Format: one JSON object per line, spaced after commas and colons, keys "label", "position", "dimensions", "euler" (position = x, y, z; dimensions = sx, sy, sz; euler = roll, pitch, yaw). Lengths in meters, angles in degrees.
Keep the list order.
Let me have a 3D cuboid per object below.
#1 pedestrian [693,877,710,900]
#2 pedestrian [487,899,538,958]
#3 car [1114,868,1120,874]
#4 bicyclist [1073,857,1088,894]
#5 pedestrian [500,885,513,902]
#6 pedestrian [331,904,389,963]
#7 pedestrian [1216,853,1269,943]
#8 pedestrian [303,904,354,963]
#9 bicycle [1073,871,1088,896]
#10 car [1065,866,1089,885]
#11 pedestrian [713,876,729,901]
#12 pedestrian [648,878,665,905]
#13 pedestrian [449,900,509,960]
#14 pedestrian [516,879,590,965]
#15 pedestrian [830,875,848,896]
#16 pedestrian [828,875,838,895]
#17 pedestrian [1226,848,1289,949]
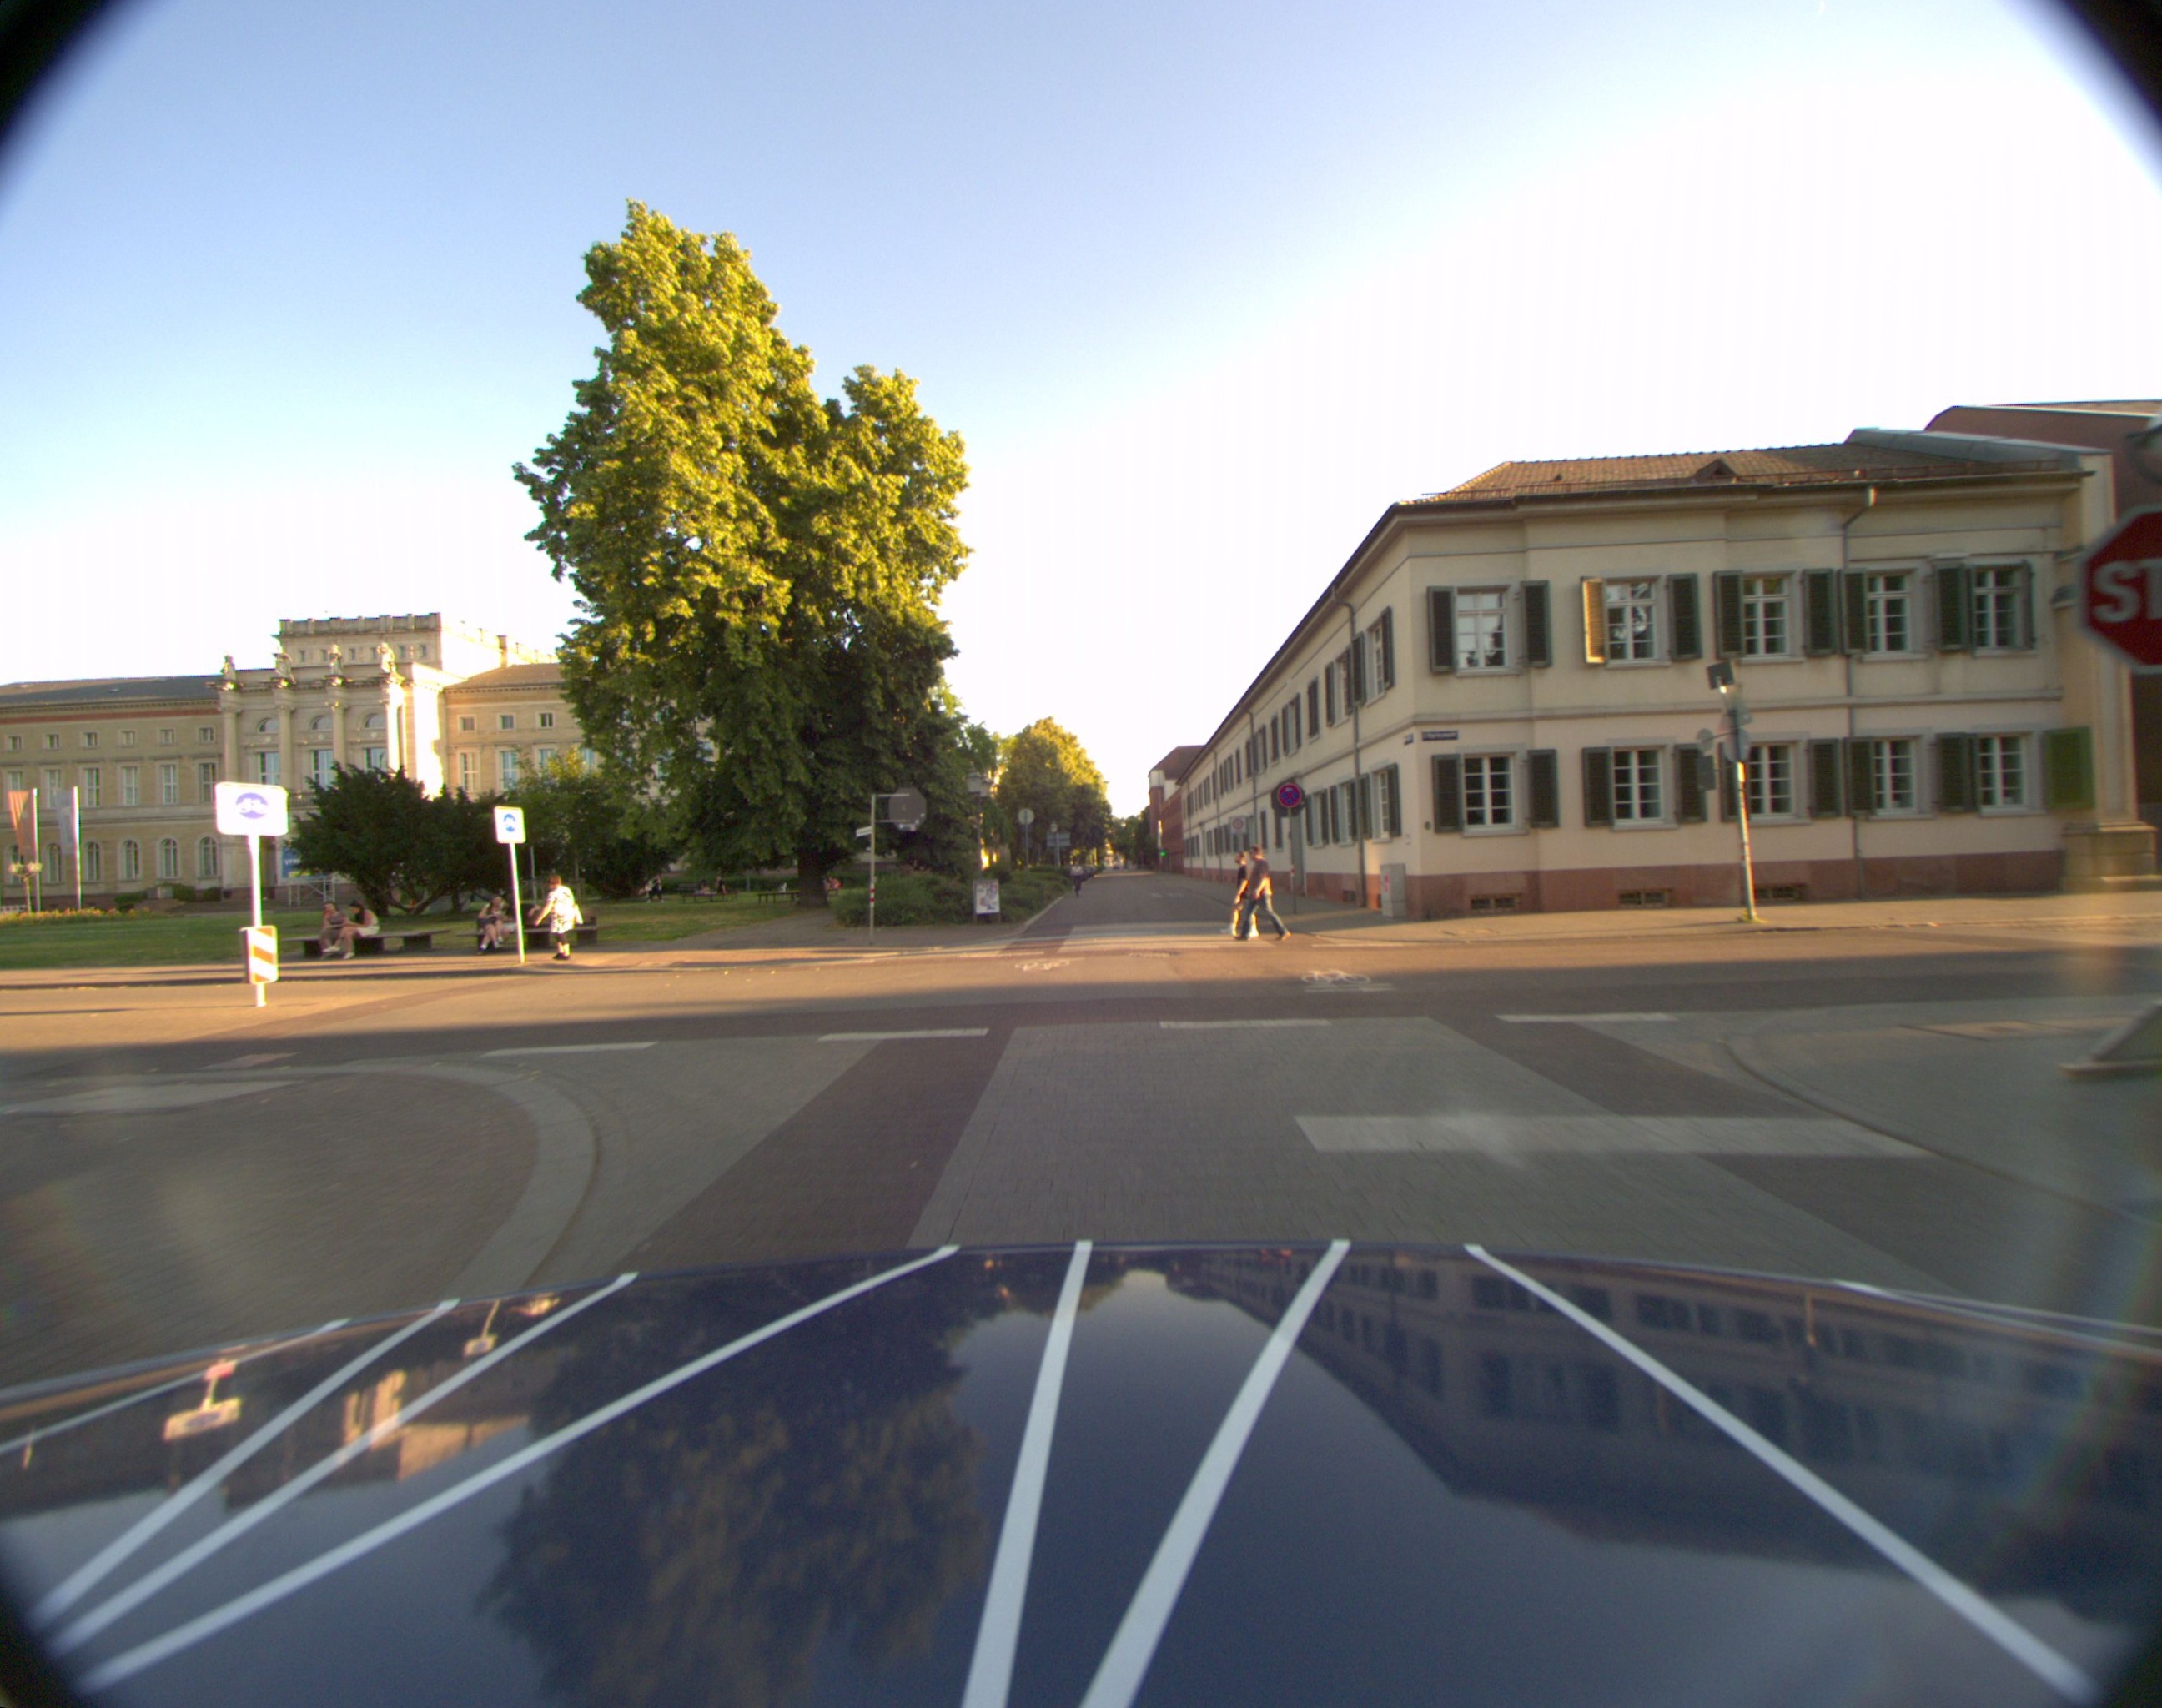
{"label": "pedestrian", "position": [-18.596, 1.683, 37.217], "dimensions": [0.605, 1.102, 0.394], "euler": [-1, -1, -43]}
{"label": "pedestrian", "position": [-12.382, 1.614, 16.567], "dimensions": [0.608, 1.196, 0.667], "euler": [-2, -1, -3]}
{"label": "car", "position": [11.367, 5.395, 239.852], "dimensions": [1.998, 2.001, 4.002], "euler": [-2, -2, 3]}
{"label": "bicyclist", "position": [-0.051, 1.056, 38.036], "dimensions": [0.672, 1.792, 1.060], "euler": [-2, -1, -1]}
{"label": "pedestrian", "position": [-42.759, 2.938, 56.574], "dimensions": [0.500, 1.280, 0.592], "euler": [-2, -1, -3]}
{"label": "pedestrian", "position": [-15.745, 1.716, 16.606], "dimensions": [0.608, 1.206, 0.667], "euler": [-2, -1, -3]}
{"label": "pedestrian", "position": [3.195, 0.866, 15.098], "dimensions": [0.858, 1.729, 0.650], "euler": [-2, 0, 0]}
{"label": "pedestrian", "position": [-16.410, 1.721, 16.578], "dimensions": [0.500, 1.206, 0.592], "euler": [-2, -1, -3]}
{"label": "bicycle", "position": [-0.032, 1.463, 37.963], "dimensions": [0.653, 1.175, 2.345], "euler": [-2, -1, -1]}
{"label": "car", "position": [-0.304, 1.926, 66.873], "dimensions": [1.814, 1.584, 4.002], "euler": [-2, -2, 3]}
{"label": "pedestrian", "position": [-17.810, 1.704, 37.568], "dimensions": [0.605, 1.195, 0.394], "euler": [-1, -1, -38]}
{"label": "pedestrian", "position": [-23.322, 2.066, 41.702], "dimensions": [0.754, 1.435, 0.816], "euler": [-1, -1, -32]}
{"label": "pedestrian", "position": [-12.969, 1.629, 16.385], "dimensions": [0.528, 1.196, 0.970], "euler": [-2, -1, -3]}
{"label": "pedestrian", "position": [-10.291, 1.313, 14.831], "dimensions": [0.858, 1.616, 0.758], "euler": [-2, 0, 12]}
{"label": "pedestrian", "position": [-12.600, 1.647, 39.522], "dimensions": [0.798, 1.044, 0.394], "euler": [-1, -1, -34]}
{"label": "pedestrian", "position": [-13.091, 1.653, 40.096], "dimensions": [0.396, 1.044, 0.603], "euler": [-2, -1, -29]}
{"label": "pedestrian", "position": [3.247, 0.809, 14.058], "dimensions": [0.941, 1.776, 0.762], "euler": [-2, 0, 0]}
